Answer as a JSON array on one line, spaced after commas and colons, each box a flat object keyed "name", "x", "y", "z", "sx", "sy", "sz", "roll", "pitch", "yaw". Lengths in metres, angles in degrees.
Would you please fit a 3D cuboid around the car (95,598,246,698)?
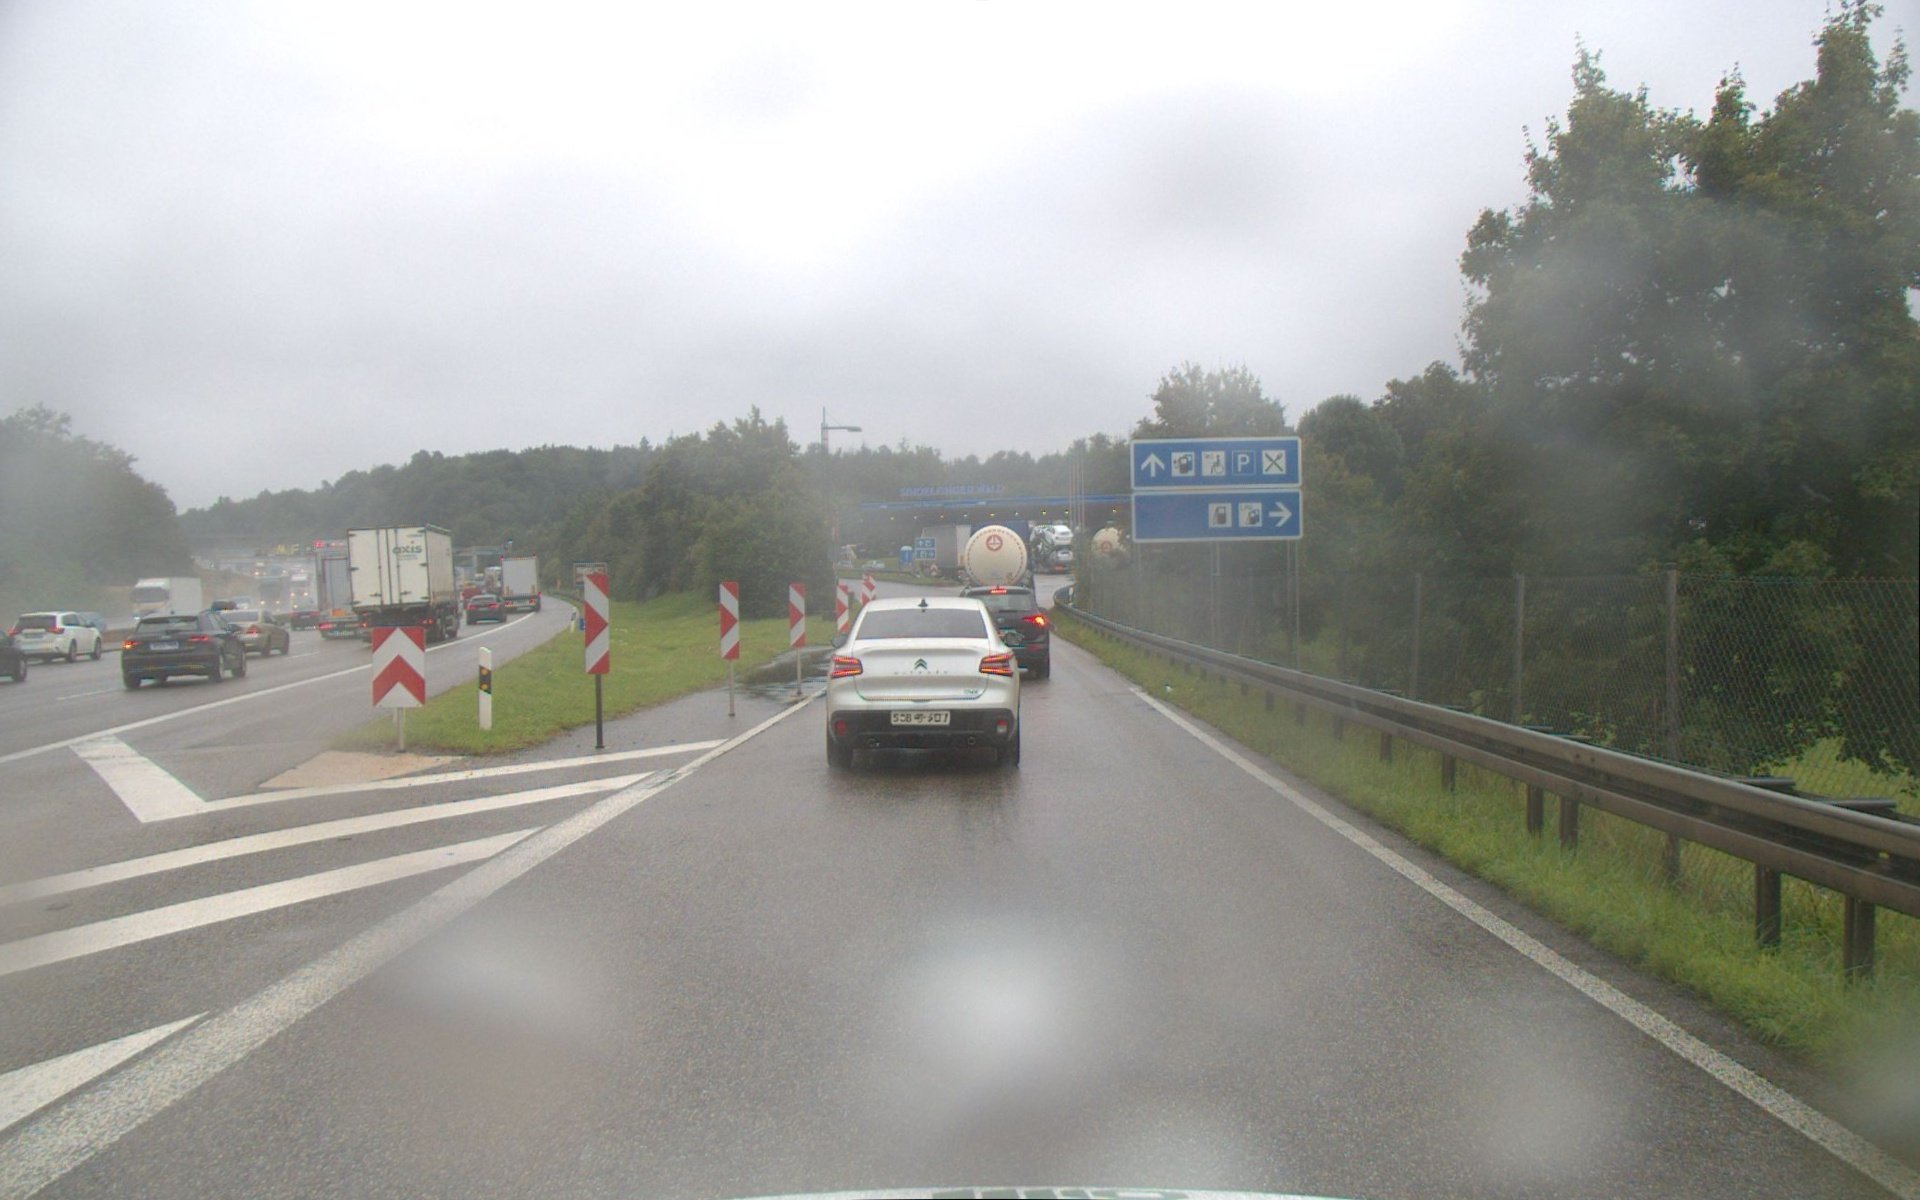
[{"name": "car", "x": -15.596, "y": 0.890, "z": 32.861, "sx": 1.744, "sy": 1.766, "sz": 3.836, "roll": -3, "pitch": 1, "yaw": -11}]

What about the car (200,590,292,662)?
[{"name": "car", "x": -21.580, "y": 0.750, "z": 50.143, "sx": 1.758, "sy": 2.005, "sz": 4.320, "roll": -2, "pitch": 0, "yaw": -13}]

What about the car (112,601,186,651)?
[{"name": "car", "x": -36.012, "y": 1.140, "z": 73.518, "sx": 1.959, "sy": 2.048, "sz": 3.987, "roll": -3, "pitch": 1, "yaw": -12}]

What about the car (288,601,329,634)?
[{"name": "car", "x": -38.765, "y": 1.036, "z": 98.488, "sx": 1.669, "sy": 1.818, "sz": 3.772, "roll": -2, "pitch": 1, "yaw": -14}]

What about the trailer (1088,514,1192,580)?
[{"name": "trailer", "x": 10.438, "y": -3.120, "z": 94.614, "sx": 2.091, "sy": 3.500, "sz": 10.240, "roll": -1, "pitch": 2, "yaw": 29}]

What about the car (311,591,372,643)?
[{"name": "car", "x": -26.383, "y": 0.701, "z": 70.633, "sx": 1.961, "sy": 2.048, "sz": 3.983, "roll": -3, "pitch": 1, "yaw": -15}]

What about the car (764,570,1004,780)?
[{"name": "car", "x": -0.667, "y": 0.600, "z": 15.605, "sx": 1.953, "sy": 1.708, "sz": 3.999, "roll": 1, "pitch": 0, "yaw": -1}]

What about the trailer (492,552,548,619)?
[{"name": "trailer", "x": -33.283, "y": -1.060, "z": 125.594, "sx": 3.488, "sy": 4.692, "sz": 12.079, "roll": -3, "pitch": 0, "yaw": -13}]

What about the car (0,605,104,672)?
[{"name": "car", "x": -30.337, "y": 1.241, "z": 55.295, "sx": 1.959, "sy": 2.048, "sz": 3.988, "roll": -3, "pitch": 0, "yaw": -12}]

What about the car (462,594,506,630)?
[{"name": "car", "x": -25.455, "y": 0.608, "z": 88.567, "sx": 1.959, "sy": 1.847, "sz": 3.987, "roll": 0, "pitch": 0, "yaw": -12}]

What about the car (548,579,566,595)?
[{"name": "car", "x": -54.266, "y": -1.780, "z": 222.651, "sx": 1.963, "sy": 2.049, "sz": 3.978, "roll": 1, "pitch": 0, "yaw": -19}]

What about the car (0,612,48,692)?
[{"name": "car", "x": -22.630, "y": 1.229, "z": 37.929, "sx": 1.744, "sy": 1.766, "sz": 4.089, "roll": -3, "pitch": 1, "yaw": -11}]

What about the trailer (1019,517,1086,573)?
[{"name": "trailer", "x": 7.369, "y": -4.470, "z": 133.870, "sx": 3.156, "sy": 4.261, "sz": 11.509, "roll": -1, "pitch": 2, "yaw": -8}]

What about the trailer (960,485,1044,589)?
[{"name": "trailer", "x": 1.600, "y": -2.222, "z": 58.408, "sx": 1.938, "sy": 3.280, "sz": 10.331, "roll": -2, "pitch": 2, "yaw": 7}]

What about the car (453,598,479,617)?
[{"name": "car", "x": -45.705, "y": 0.692, "z": 153.006, "sx": 1.959, "sy": 1.778, "sz": 3.987, "roll": 1, "pitch": 0, "yaw": -13}]

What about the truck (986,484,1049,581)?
[{"name": "truck", "x": 2.285, "y": -2.613, "z": 64.500, "sx": 2.009, "sy": 3.592, "sz": 4.750, "roll": -2, "pitch": 2, "yaw": 6}]

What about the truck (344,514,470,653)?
[{"name": "truck", "x": -19.744, "y": -0.528, "z": 59.730, "sx": 2.800, "sy": 4.367, "sz": 11.805, "roll": -3, "pitch": 0, "yaw": -12}]

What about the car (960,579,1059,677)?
[{"name": "car", "x": 0.873, "y": 0.484, "z": 30.567, "sx": 1.707, "sy": 1.696, "sz": 4.000, "roll": 0, "pitch": 0, "yaw": 0}]

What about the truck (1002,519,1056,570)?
[{"name": "truck", "x": 5.927, "y": -4.844, "z": 143.771, "sx": 3.174, "sy": 4.261, "sz": 8.429, "roll": -1, "pitch": 2, "yaw": -8}]

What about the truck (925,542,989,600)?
[{"name": "truck", "x": -0.345, "y": -2.200, "z": 121.585, "sx": 2.328, "sy": 3.940, "sz": 12.424, "roll": -3, "pitch": 2, "yaw": -10}]
